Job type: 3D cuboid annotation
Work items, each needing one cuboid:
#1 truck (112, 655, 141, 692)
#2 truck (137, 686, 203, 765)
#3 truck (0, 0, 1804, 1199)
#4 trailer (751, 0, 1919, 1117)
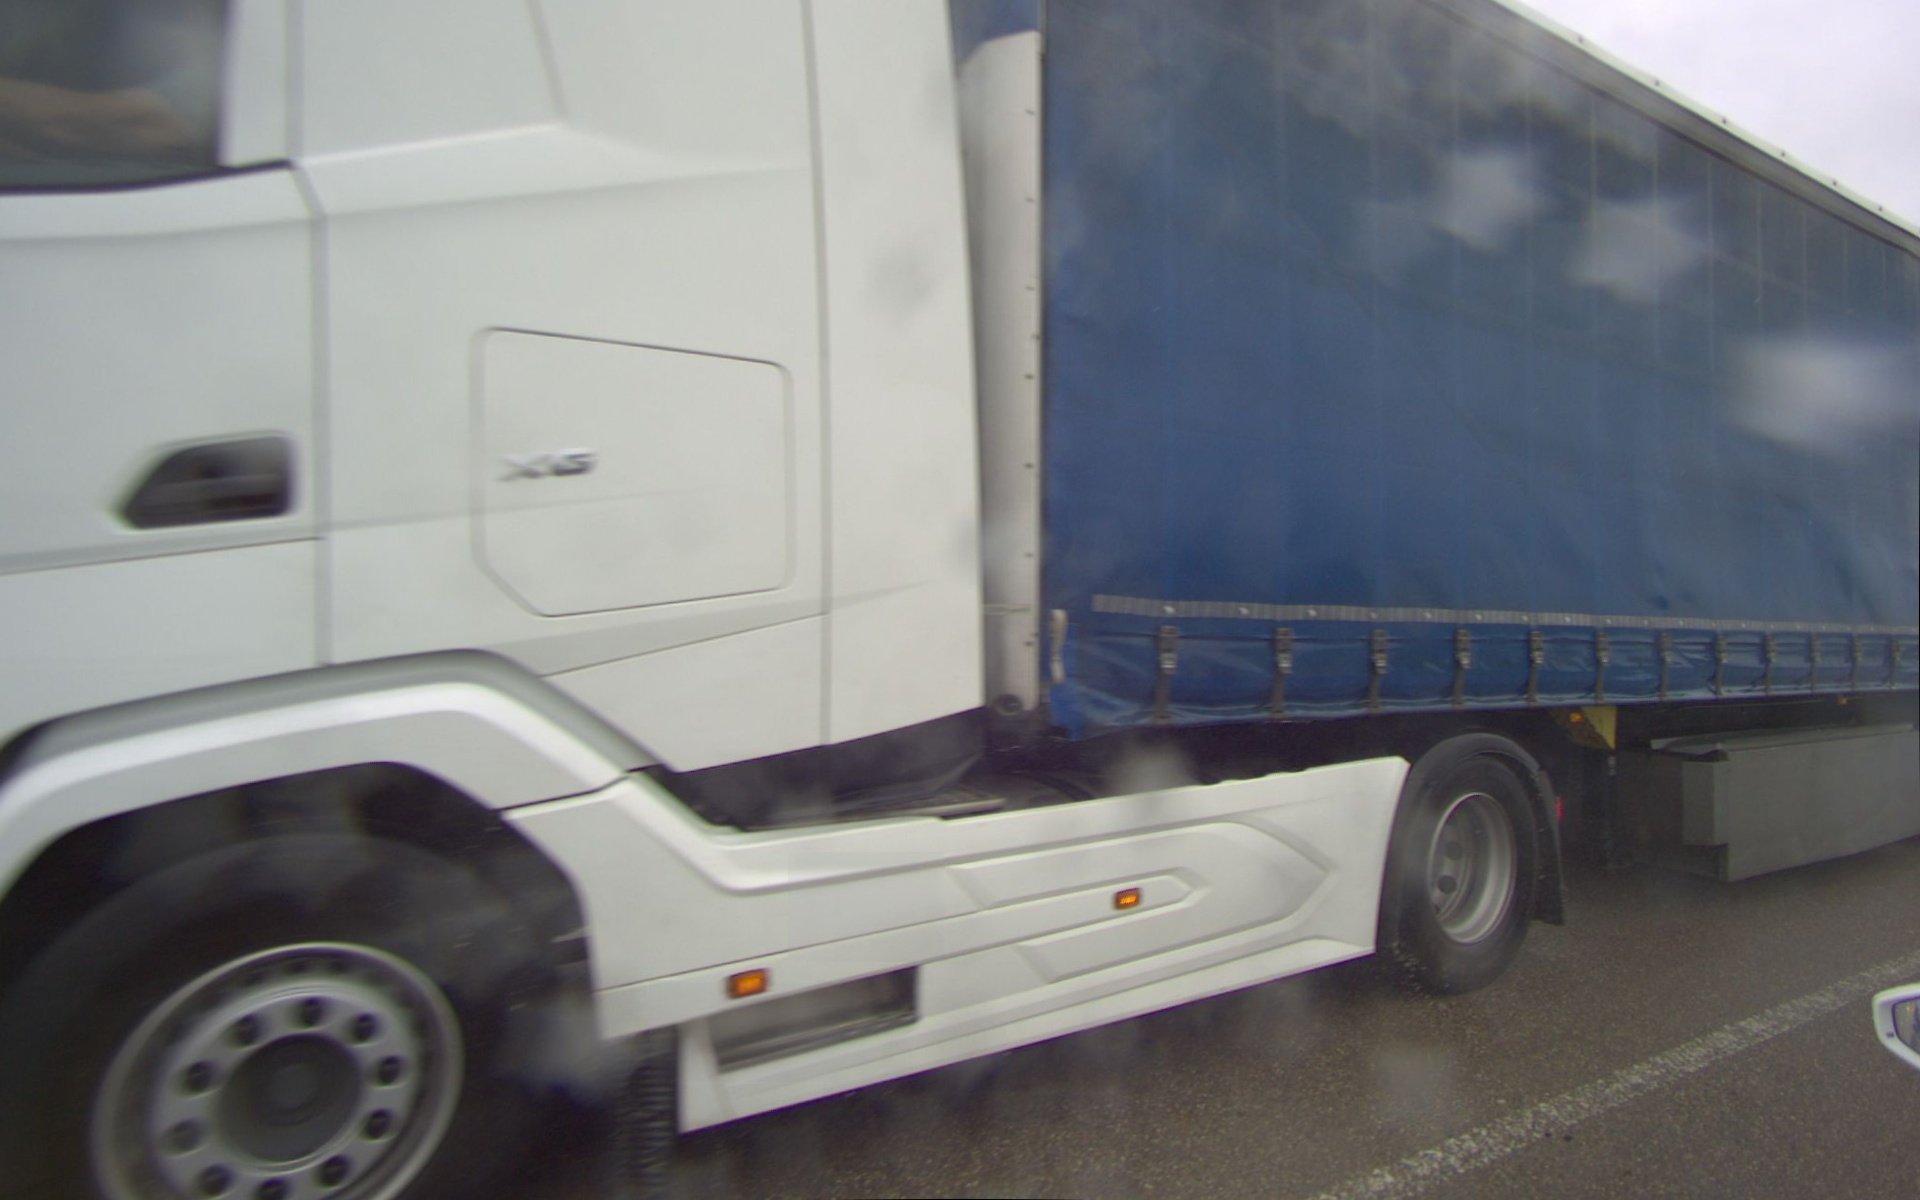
[{"bbox_3d":[-104.543,9.138,126.066,2.218,3.749,9.750,1,2,-36],"label":"truck"},{"bbox_3d":[-50.116,7.739,63.577,2.764,3.920,10.517,3,-2,-40],"label":"truck"},{"bbox_3d":[-0.051,-0.575,4.185,8.663,4.023,2.804,2,-1,-31],"label":"truck"},{"bbox_3d":[5.463,-0.406,7.520,13.578,4.023,2.804,2,-1,-31],"label":"trailer"}]
